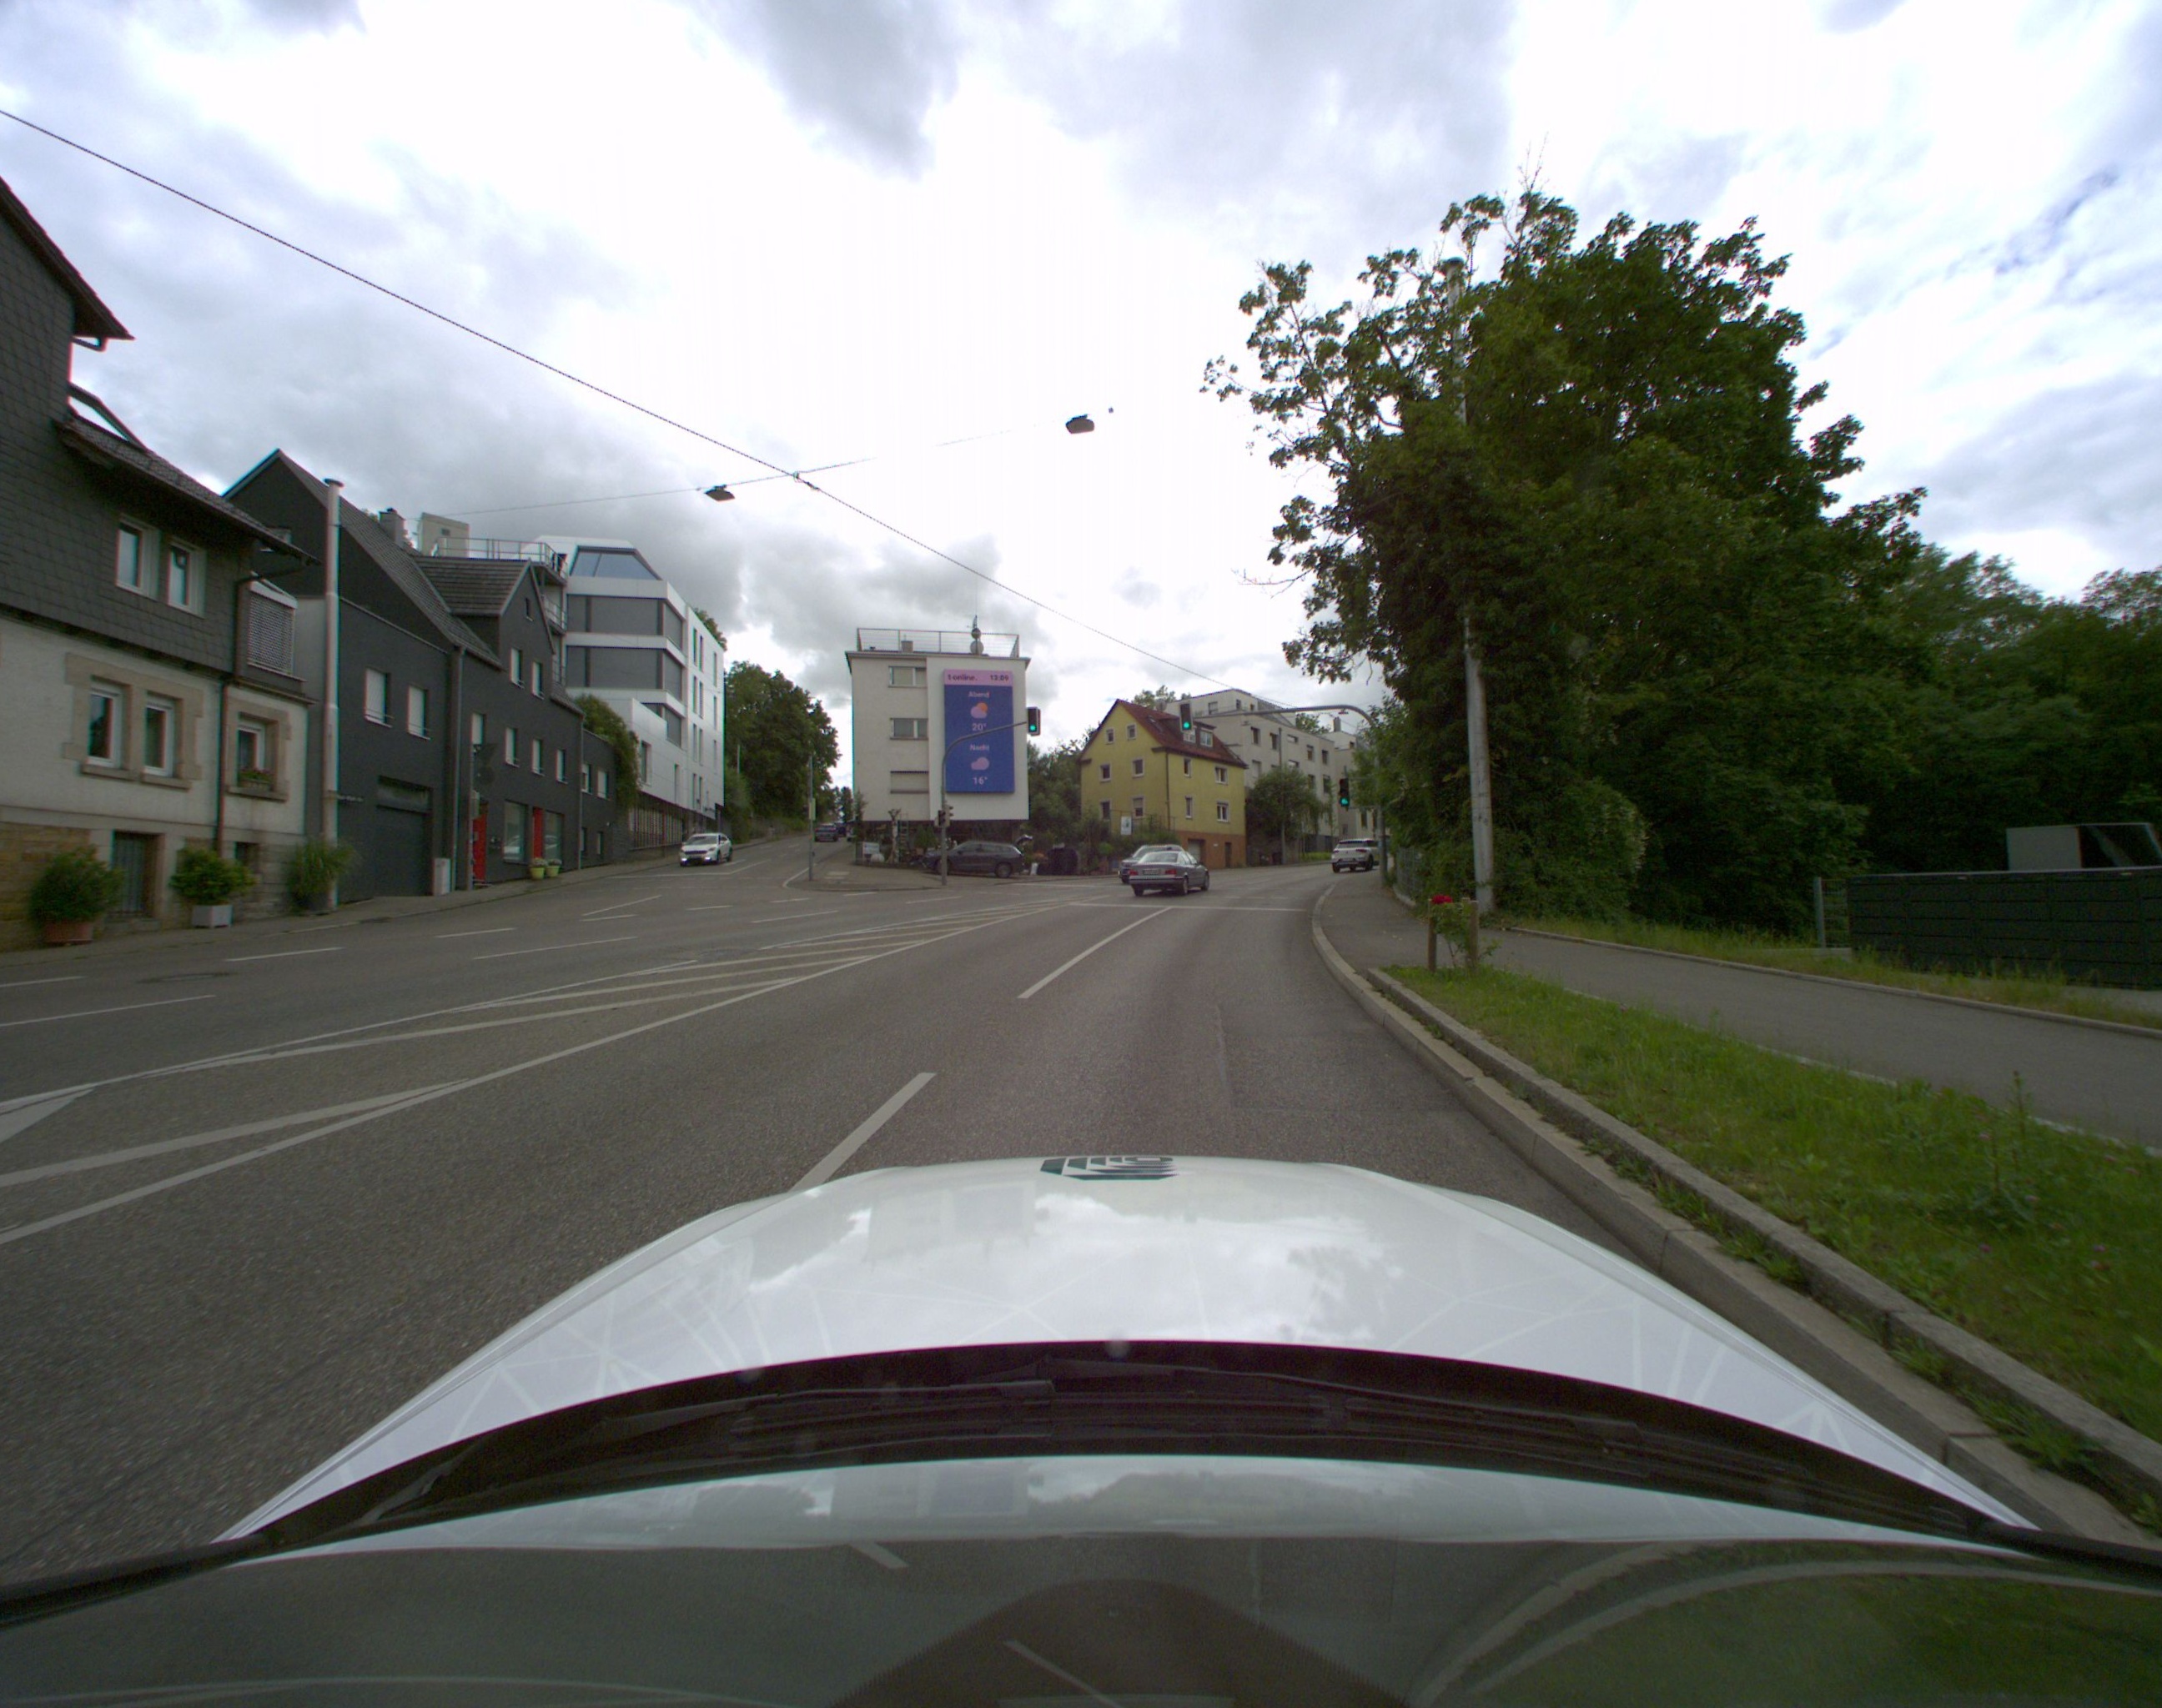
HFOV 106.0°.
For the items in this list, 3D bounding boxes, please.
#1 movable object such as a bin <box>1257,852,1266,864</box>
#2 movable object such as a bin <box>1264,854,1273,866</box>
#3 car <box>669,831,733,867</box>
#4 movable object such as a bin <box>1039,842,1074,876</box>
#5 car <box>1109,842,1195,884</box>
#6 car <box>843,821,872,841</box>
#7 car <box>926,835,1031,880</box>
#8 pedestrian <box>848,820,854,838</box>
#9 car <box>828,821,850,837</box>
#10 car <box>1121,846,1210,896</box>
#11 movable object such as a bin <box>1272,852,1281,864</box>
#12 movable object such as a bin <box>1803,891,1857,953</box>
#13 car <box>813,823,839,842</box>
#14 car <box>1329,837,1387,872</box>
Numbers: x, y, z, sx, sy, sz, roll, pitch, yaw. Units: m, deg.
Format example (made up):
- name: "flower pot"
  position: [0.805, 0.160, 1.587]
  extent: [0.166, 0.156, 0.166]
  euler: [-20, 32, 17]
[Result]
- name: "movable object such as a bin"
  position: [13.599, 0.275, 61.476]
  extent: [0.562, 0.885, 0.613]
  euler: [0, 0, 22]
- name: "movable object such as a bin"
  position: [13.985, 0.422, 60.645]
  extent: [0.562, 0.885, 0.613]
  euler: [0, 0, 22]
- name: "car"
  position: [-18.901, -0.316, 40.746]
  extent: [1.884, 1.567, 4.372]
  euler: [-1, 3, -12]
- name: "movable object such as a bin"
  position: [-1.312, 0.274, 44.272]
  extent: [1.756, 1.779, 1.855]
  euler: [-1, 0, 1]
- name: "car"
  position: [3.130, 0.362, 34.965]
  extent: [1.877, 1.695, 4.375]
  euler: [-1, 0, 32]
- name: "car"
  position: [-19.497, -1.977, 71.196]
  extent: [2.090, 1.613, 3.986]
  euler: [-1, 0, -10]
- name: "car"
  position: [-4.888, 0.126, 38.397]
  extent: [4.691, 1.712, 2.310]
  euler: [4, 2, -12]
- name: "pedestrian"
  position: [-19.551, -2.144, 69.269]
  extent: [0.458, 1.529, 0.525]
  euler: [-1, -1, -10]
- name: "car"
  position: [-24.508, -2.547, 82.559]
  extent: [1.781, 1.578, 3.985]
  euler: [0, 2, -11]
- name: "car"
  position: [2.782, 0.491, 26.016]
  extent: [1.691, 1.464, 4.022]
  euler: [-1, 0, 23]
- name: "movable object such as a bin"
  position: [14.587, 0.286, 60.733]
  extent: [0.562, 0.885, 0.613]
  euler: [0, 0, 22]
- name: "movable object such as a bin"
  position: [11.685, 1.055, 12.709]
  extent: [0.381, 0.923, 0.499]
  euler: [-1, 0, -2]
- name: "car"
  position: [-21.934, -1.865, 70.183]
  extent: [1.781, 1.578, 3.985]
  euler: [0, 2, -11]
- name: "car"
  position: [13.343, 0.018, 39.107]
  extent: [1.763, 1.579, 4.025]
  euler: [-1, 0, 32]
